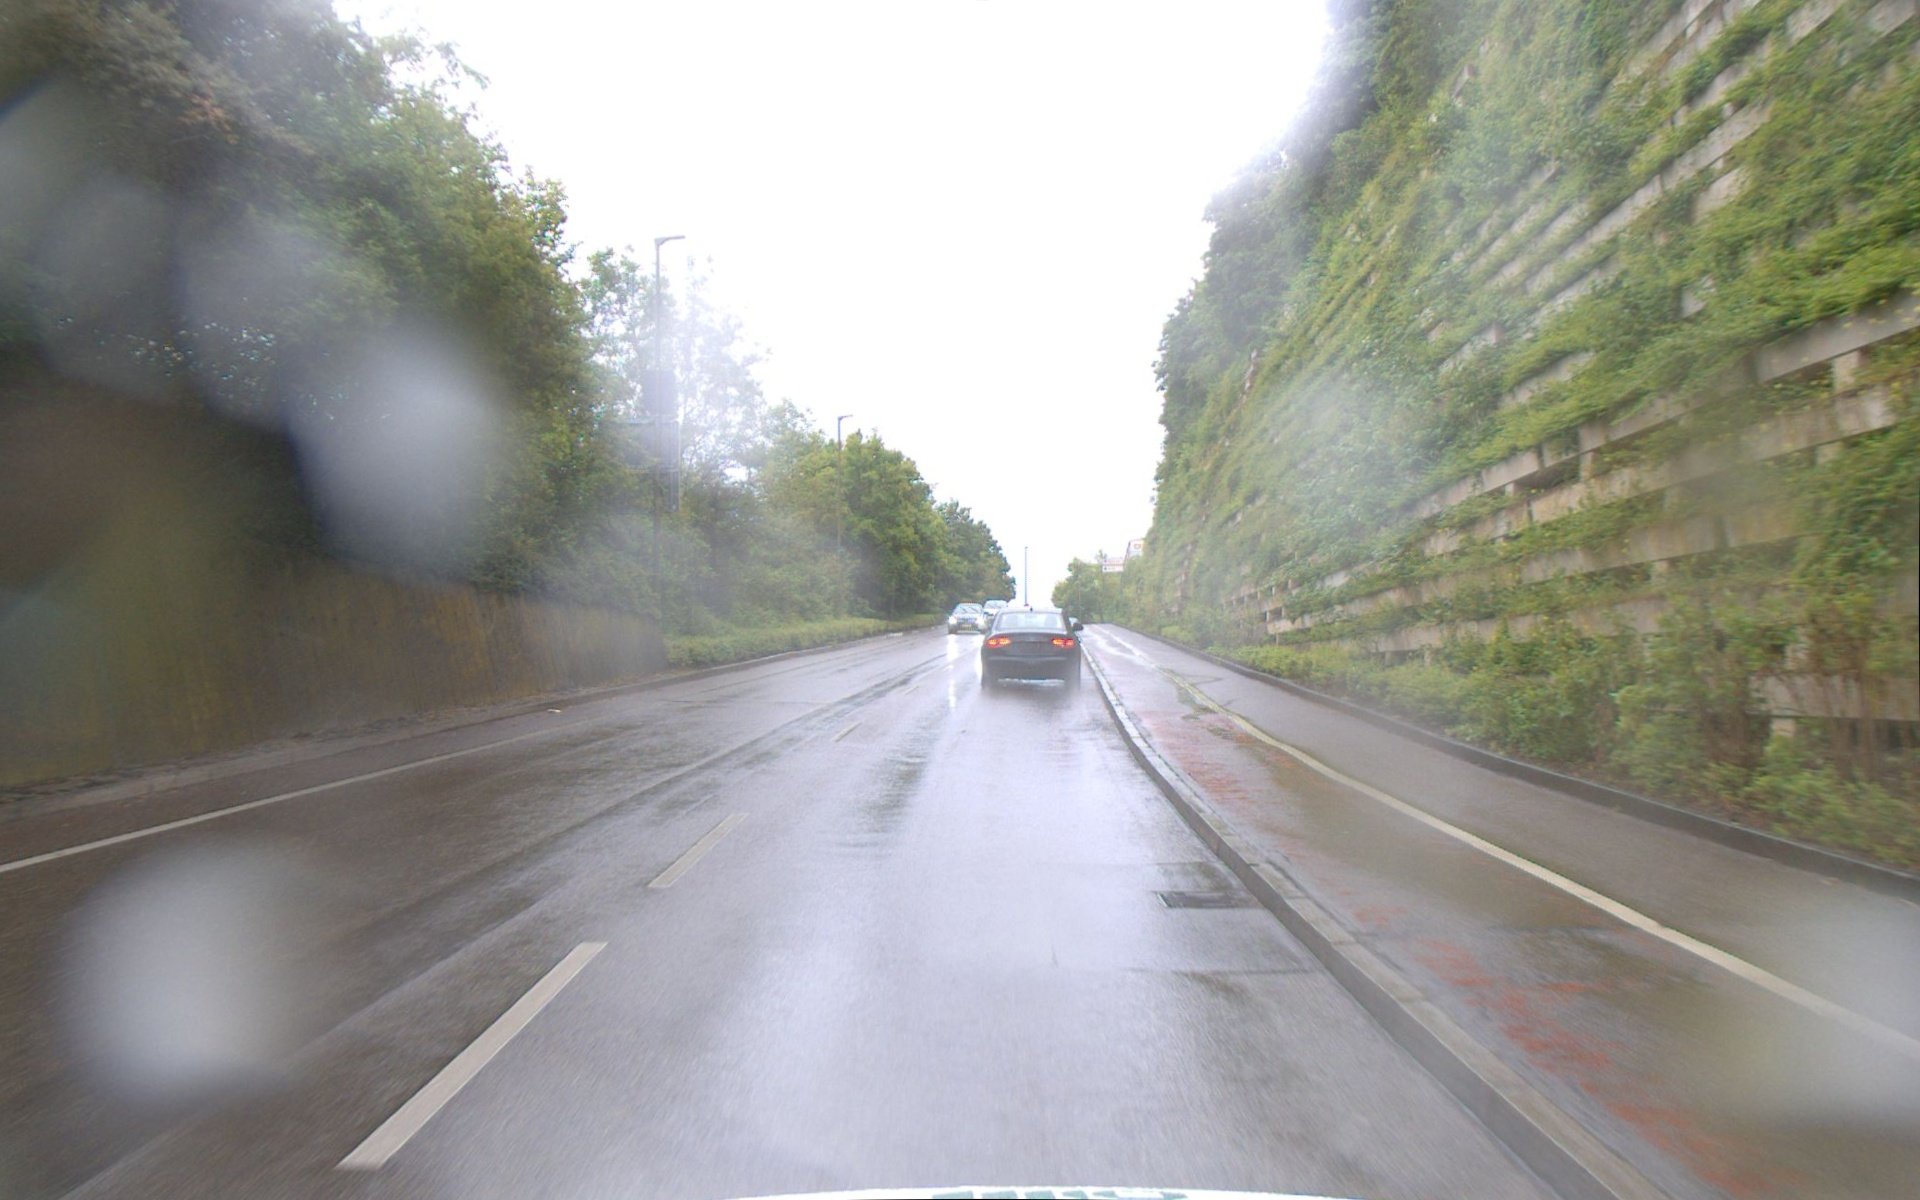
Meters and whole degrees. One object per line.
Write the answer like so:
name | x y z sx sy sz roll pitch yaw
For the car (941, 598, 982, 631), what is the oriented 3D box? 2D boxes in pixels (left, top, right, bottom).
car | 0.098 0.662 78.430 1.826 1.474 4.378 -1 0 2

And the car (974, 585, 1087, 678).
car | 1.310 0.528 29.772 1.853 1.518 4.209 -1 0 4

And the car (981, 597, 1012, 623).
car | 2.334 0.618 105.111 1.785 1.643 4.095 1 0 3
